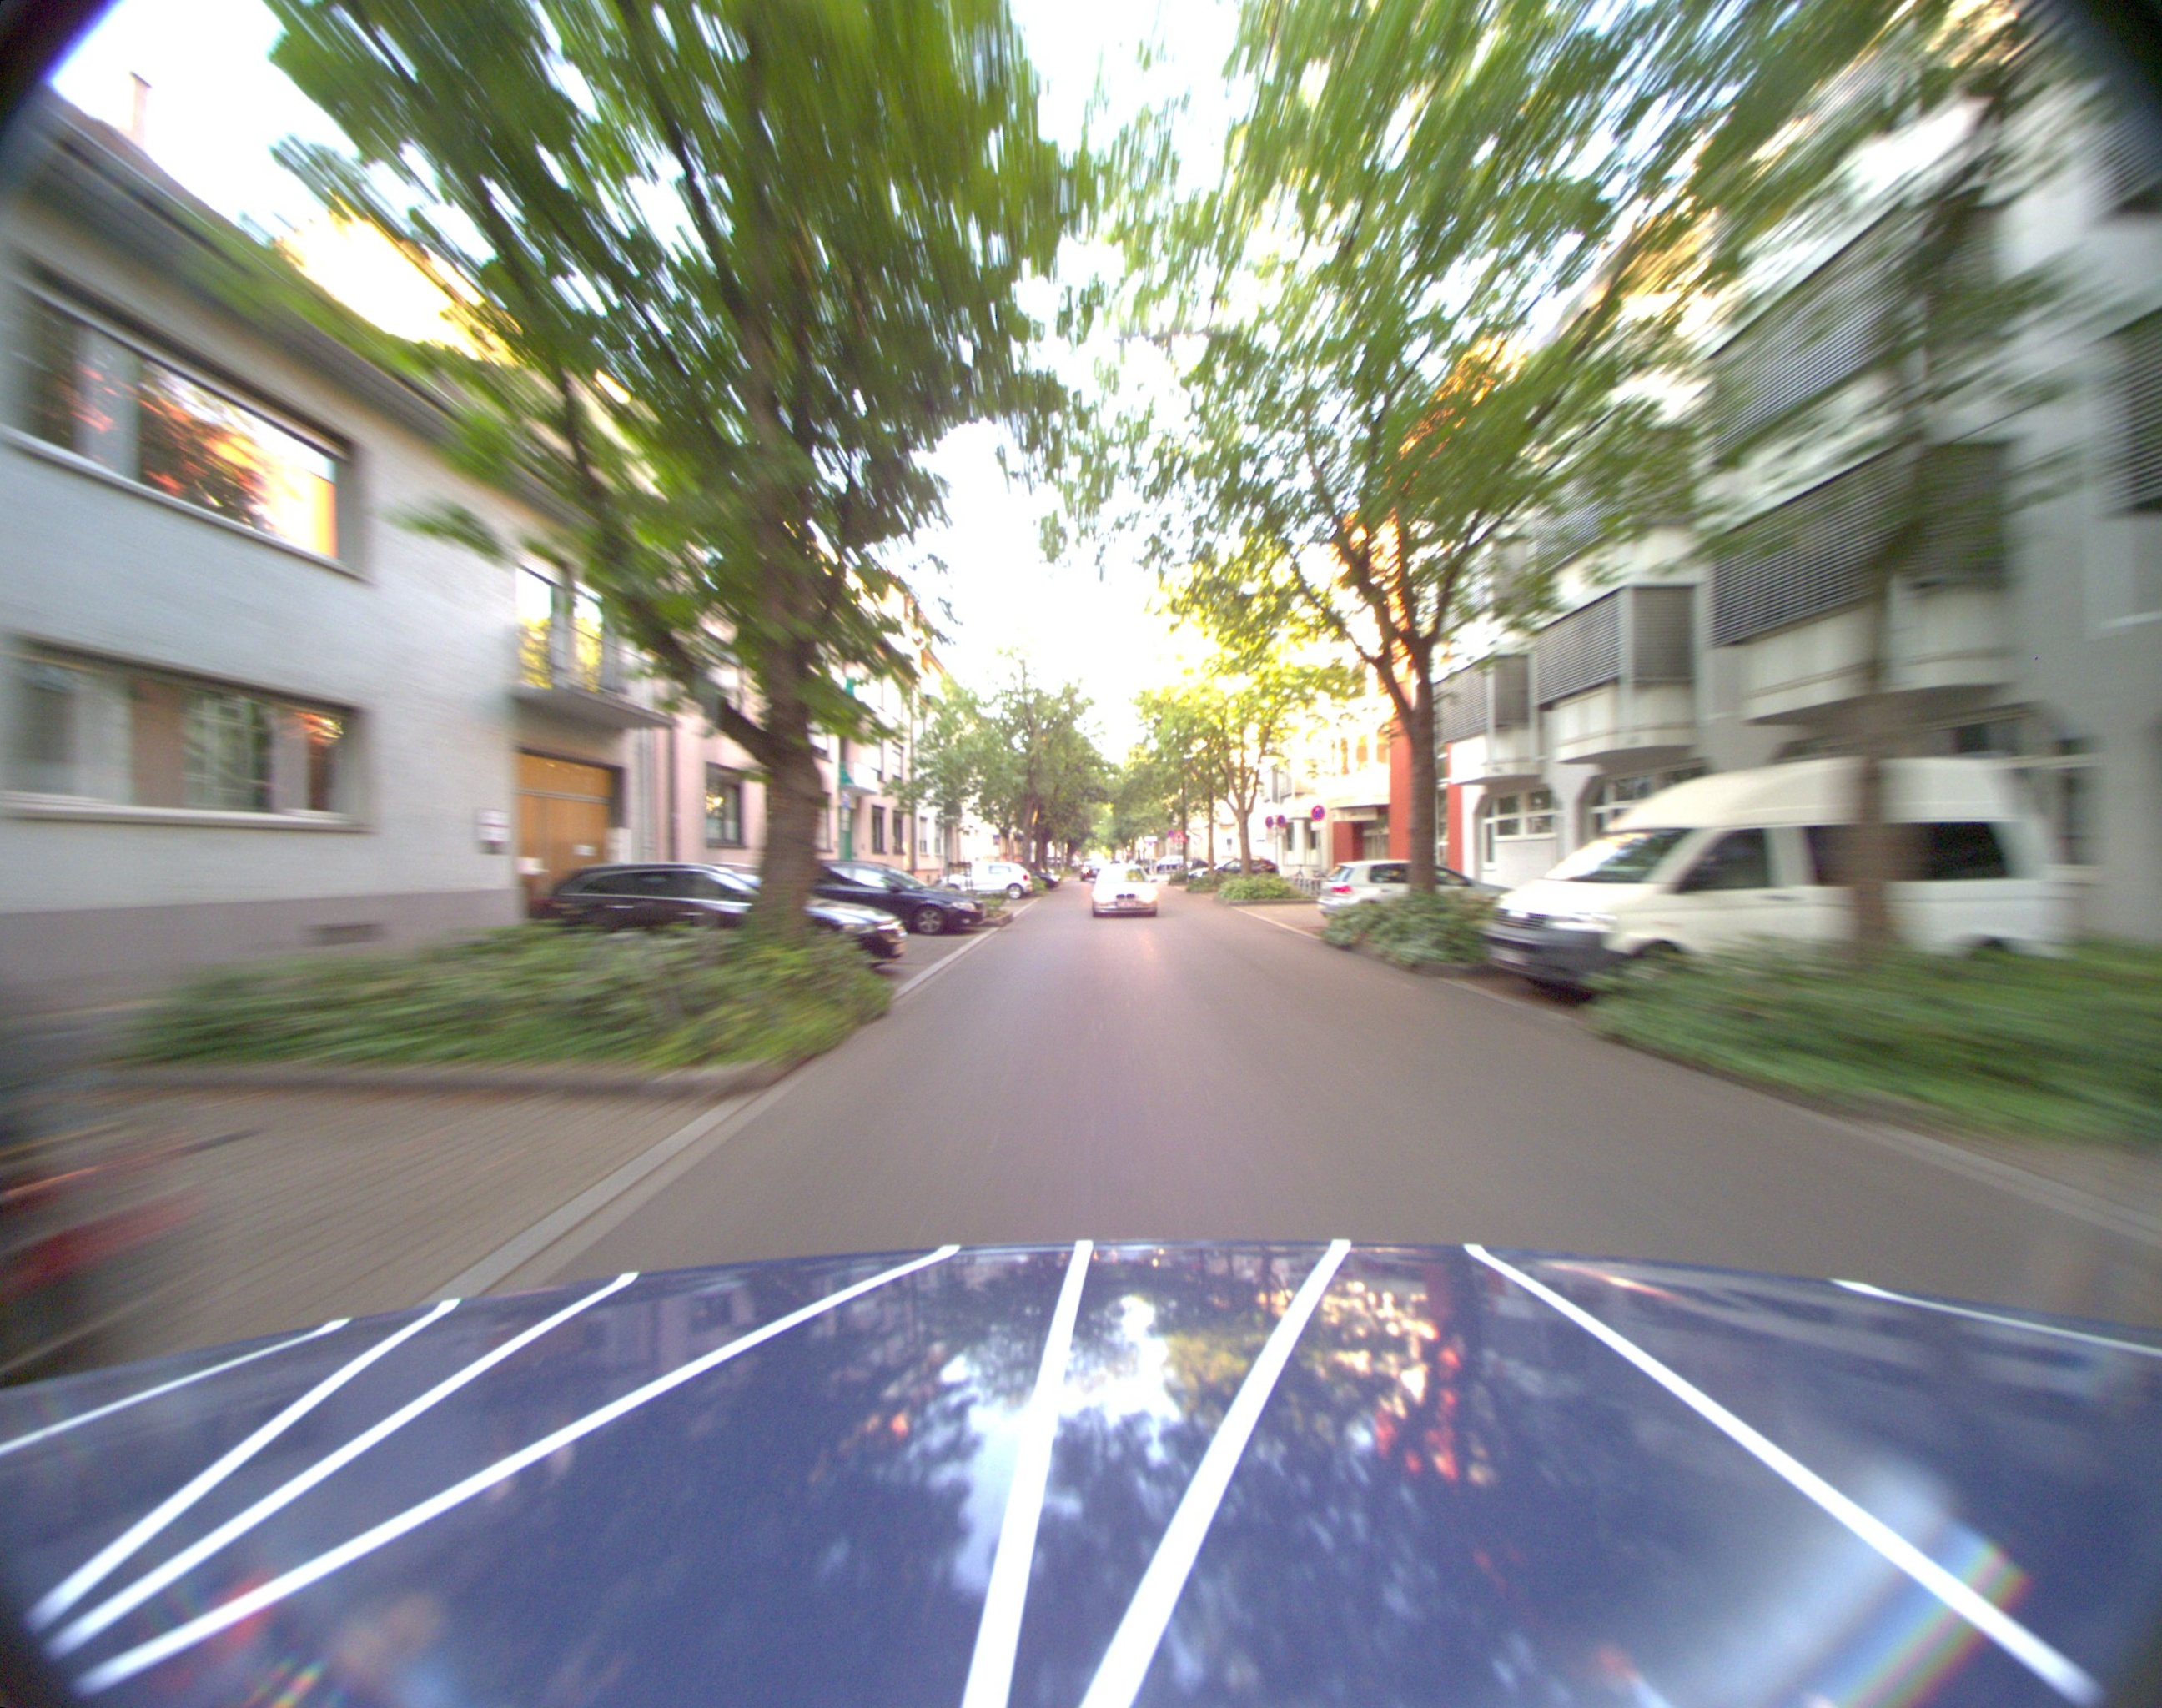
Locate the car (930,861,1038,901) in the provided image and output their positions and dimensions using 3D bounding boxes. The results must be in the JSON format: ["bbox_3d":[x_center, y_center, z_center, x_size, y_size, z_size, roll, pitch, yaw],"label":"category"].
[{"bbox_3d":[-3.817,1.053,30.469,4.092,1.482,1.798,-1,0,-2],"label":"car"}]

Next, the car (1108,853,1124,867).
[{"bbox_3d":[4.392,0.705,95.485,1.787,1.678,4.385,-1,0,-1],"label":"car"}]

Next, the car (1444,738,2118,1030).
[{"bbox_3d":[6.815,0.287,7.927,5.015,2.558,2.121,-1,0,1],"label":"car"}]

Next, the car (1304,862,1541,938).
[{"bbox_3d":[7.102,0.929,16.164,4.178,1.460,1.953,-1,0,2],"label":"car"}]

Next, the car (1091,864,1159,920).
[{"bbox_3d":[1.189,1.004,21.783,1.736,1.363,4.333,-1,0,1],"label":"car"}]

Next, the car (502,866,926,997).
[{"bbox_3d":[-4.671,0.941,10.188,4.688,1.380,2.001,2,0,3],"label":"car"}]

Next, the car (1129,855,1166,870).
[{"bbox_3d":[8.366,1.056,96.115,4.528,1.705,2.000,-1,0,2],"label":"car"}]

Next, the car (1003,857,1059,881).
[{"bbox_3d":[-3.396,0.981,51.976,3.731,1.544,1.754,-1,0,-1],"label":"car"}]

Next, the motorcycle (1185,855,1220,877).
[{"bbox_3d":[8.432,0.826,52.768,2.234,1.461,0.900,-1,0,-21],"label":"motorcycle"}]

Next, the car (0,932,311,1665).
[{"bbox_3d":[-4.481,0.895,1.331,4.468,1.419,2.012,2,1,6],"label":"car"}]

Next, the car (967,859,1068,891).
[{"bbox_3d":[-3.158,1.040,38.433,4.886,1.488,1.988,-1,0,1],"label":"car"}]

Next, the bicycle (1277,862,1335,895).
[{"bbox_3d":[8.366,0.898,28.270,1.964,1.169,0.656,-1,0,-5],"label":"bicycle"}]

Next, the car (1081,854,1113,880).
[{"bbox_3d":[1.137,0.873,52.713,1.892,1.635,4.002,-2,0,5],"label":"car"}]

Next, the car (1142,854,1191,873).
[{"bbox_3d":[8.099,0.872,72.040,4.601,1.725,2.142,-1,0,6],"label":"car"}]

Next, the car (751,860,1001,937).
[{"bbox_3d":[-4.353,0.916,16.649,4.850,1.439,2.042,1,0,4],"label":"car"}]

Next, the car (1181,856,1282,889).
[{"bbox_3d":[7.270,0.880,37.045,4.520,1.517,1.872,-1,0,1],"label":"car"}]

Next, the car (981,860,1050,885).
[{"bbox_3d":[-3.703,1.050,43.294,3.846,1.403,1.712,0,0,-3],"label":"car"}]
